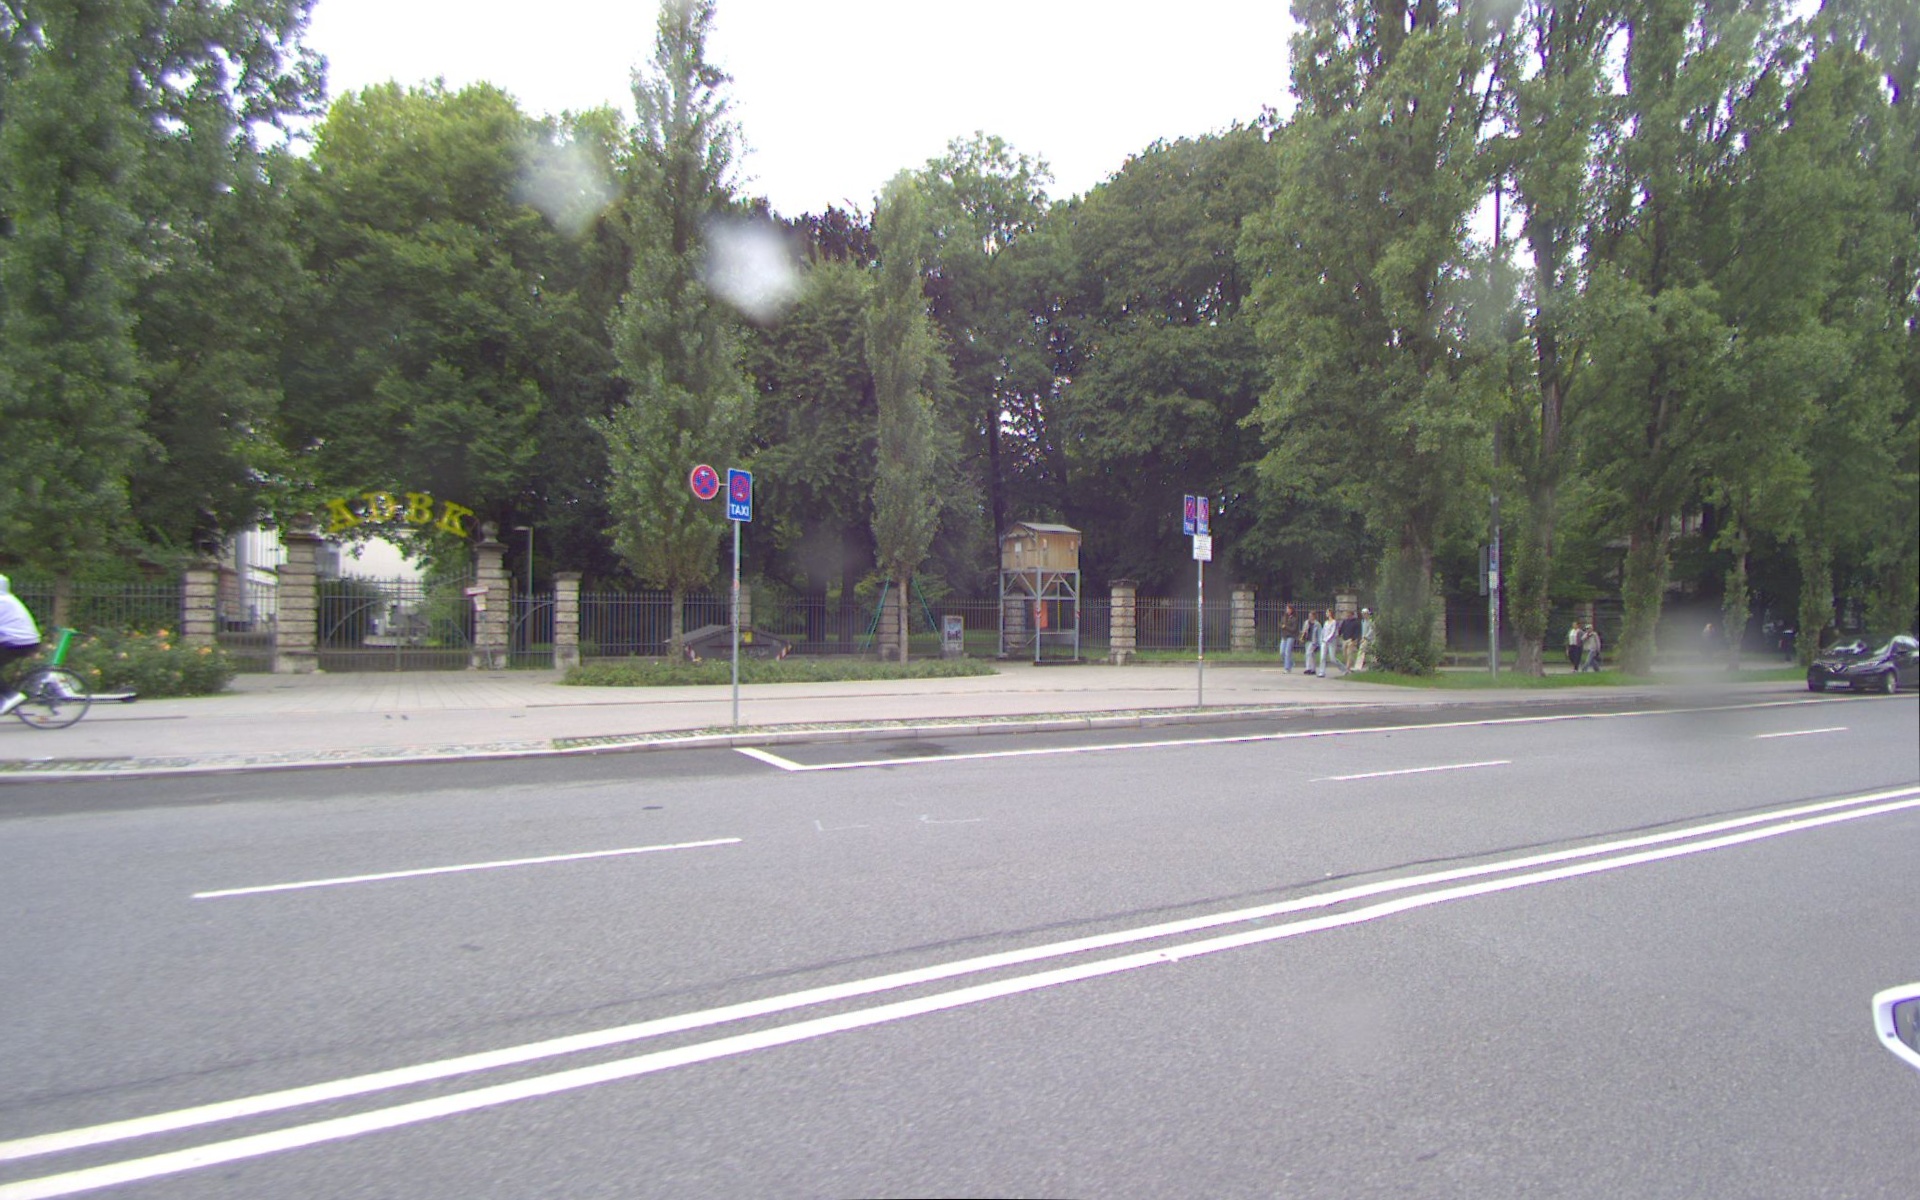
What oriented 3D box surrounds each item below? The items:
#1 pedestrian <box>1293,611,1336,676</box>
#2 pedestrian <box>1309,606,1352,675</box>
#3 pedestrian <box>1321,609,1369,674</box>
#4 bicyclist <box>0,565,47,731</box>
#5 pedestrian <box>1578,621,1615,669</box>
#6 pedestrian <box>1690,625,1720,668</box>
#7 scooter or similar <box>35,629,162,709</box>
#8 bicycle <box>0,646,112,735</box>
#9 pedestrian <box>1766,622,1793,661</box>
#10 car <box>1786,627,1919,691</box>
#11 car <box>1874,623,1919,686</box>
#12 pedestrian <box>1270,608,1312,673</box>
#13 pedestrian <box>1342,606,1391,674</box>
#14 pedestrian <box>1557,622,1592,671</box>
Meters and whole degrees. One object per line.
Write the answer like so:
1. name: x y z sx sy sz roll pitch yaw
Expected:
1. pedestrian: 9.490 1.156 26.891 0.875 1.722 0.684 1 -1 -30
2. pedestrian: 9.639 1.048 26.112 0.897 1.770 0.627 1 -1 -30
3. pedestrian: 10.951 1.162 28.573 1.080 1.796 0.706 1 0 -30
4. bicyclist: -10.868 0.531 11.373 0.653 1.847 0.586 1 1 -31
5. pedestrian: 21.075 1.490 33.259 0.865 1.569 0.714 1 -1 -30
6. pedestrian: 31.168 1.940 42.023 0.945 1.764 0.663 1 -1 -29
7. scooter or similar: -13.425 1.057 15.704 1.401 1.194 0.740 1 -2 -34
8. bicycle: -10.880 1.017 11.370 1.891 0.965 0.467 1 0 -31
9. pedestrian: 38.145 1.930 46.744 0.945 1.764 0.663 1 -1 -29
10. car: 24.749 1.579 27.405 4.335 1.604 1.937 1 -3 -29
11. car: 29.814 1.624 30.164 4.740 1.810 2.038 1 -3 -29
12. pedestrian: 9.011 1.084 27.369 0.900 1.739 0.656 1 -1 -30
13. pedestrian: 11.320 1.104 27.969 1.080 1.858 0.706 1 0 -30
14. pedestrian: 20.743 1.550 33.923 0.803 1.626 0.714 1 -1 -30
